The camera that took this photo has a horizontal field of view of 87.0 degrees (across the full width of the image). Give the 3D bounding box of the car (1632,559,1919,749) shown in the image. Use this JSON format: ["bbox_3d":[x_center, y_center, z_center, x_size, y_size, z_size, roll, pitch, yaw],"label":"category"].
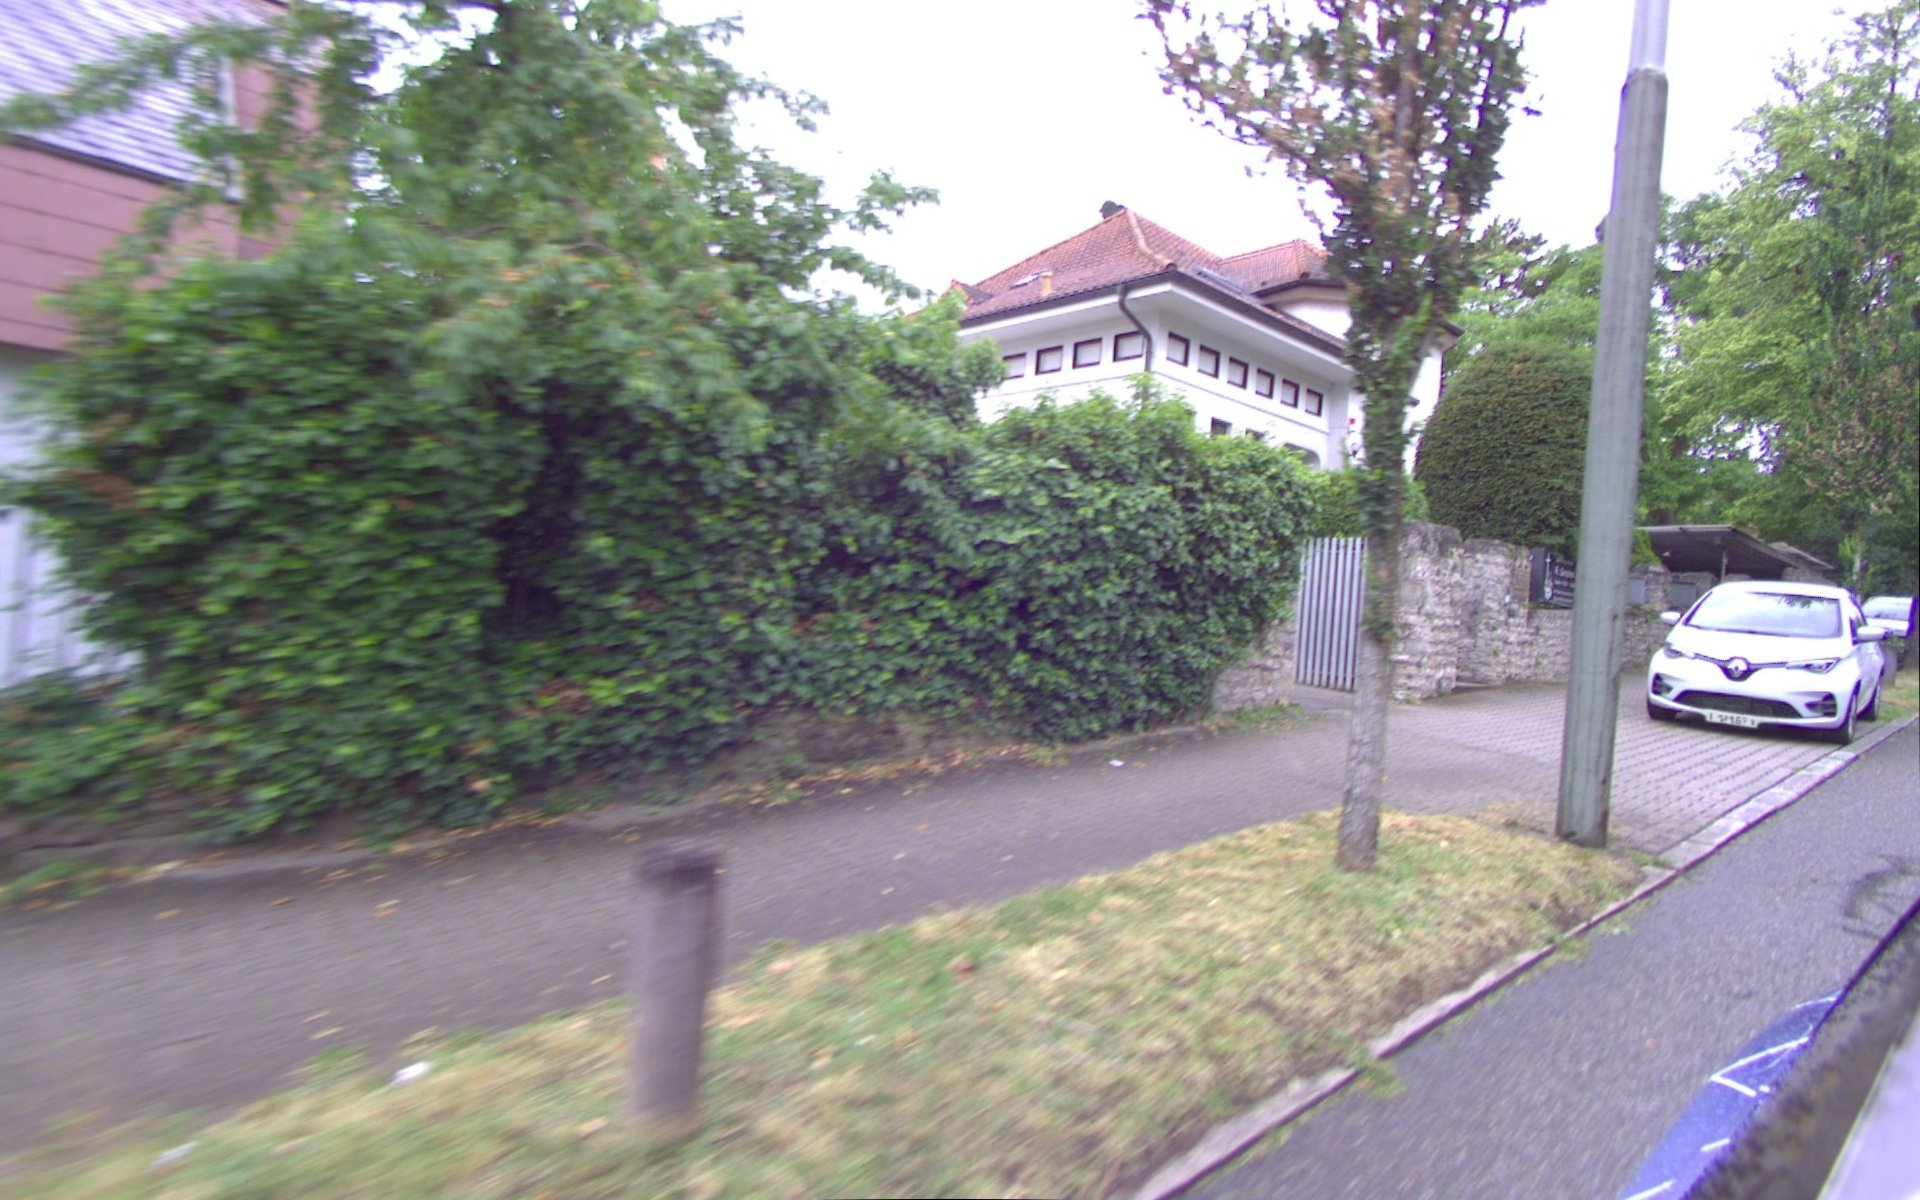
[{"bbox_3d":[9.142,0.468,11.241,3.932,1.649,1.828,0,4,-43],"label":"car"}]

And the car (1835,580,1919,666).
[{"bbox_3d":[20.240,0.541,21.417,4.145,1.586,1.923,3,3,-41],"label":"car"}]
